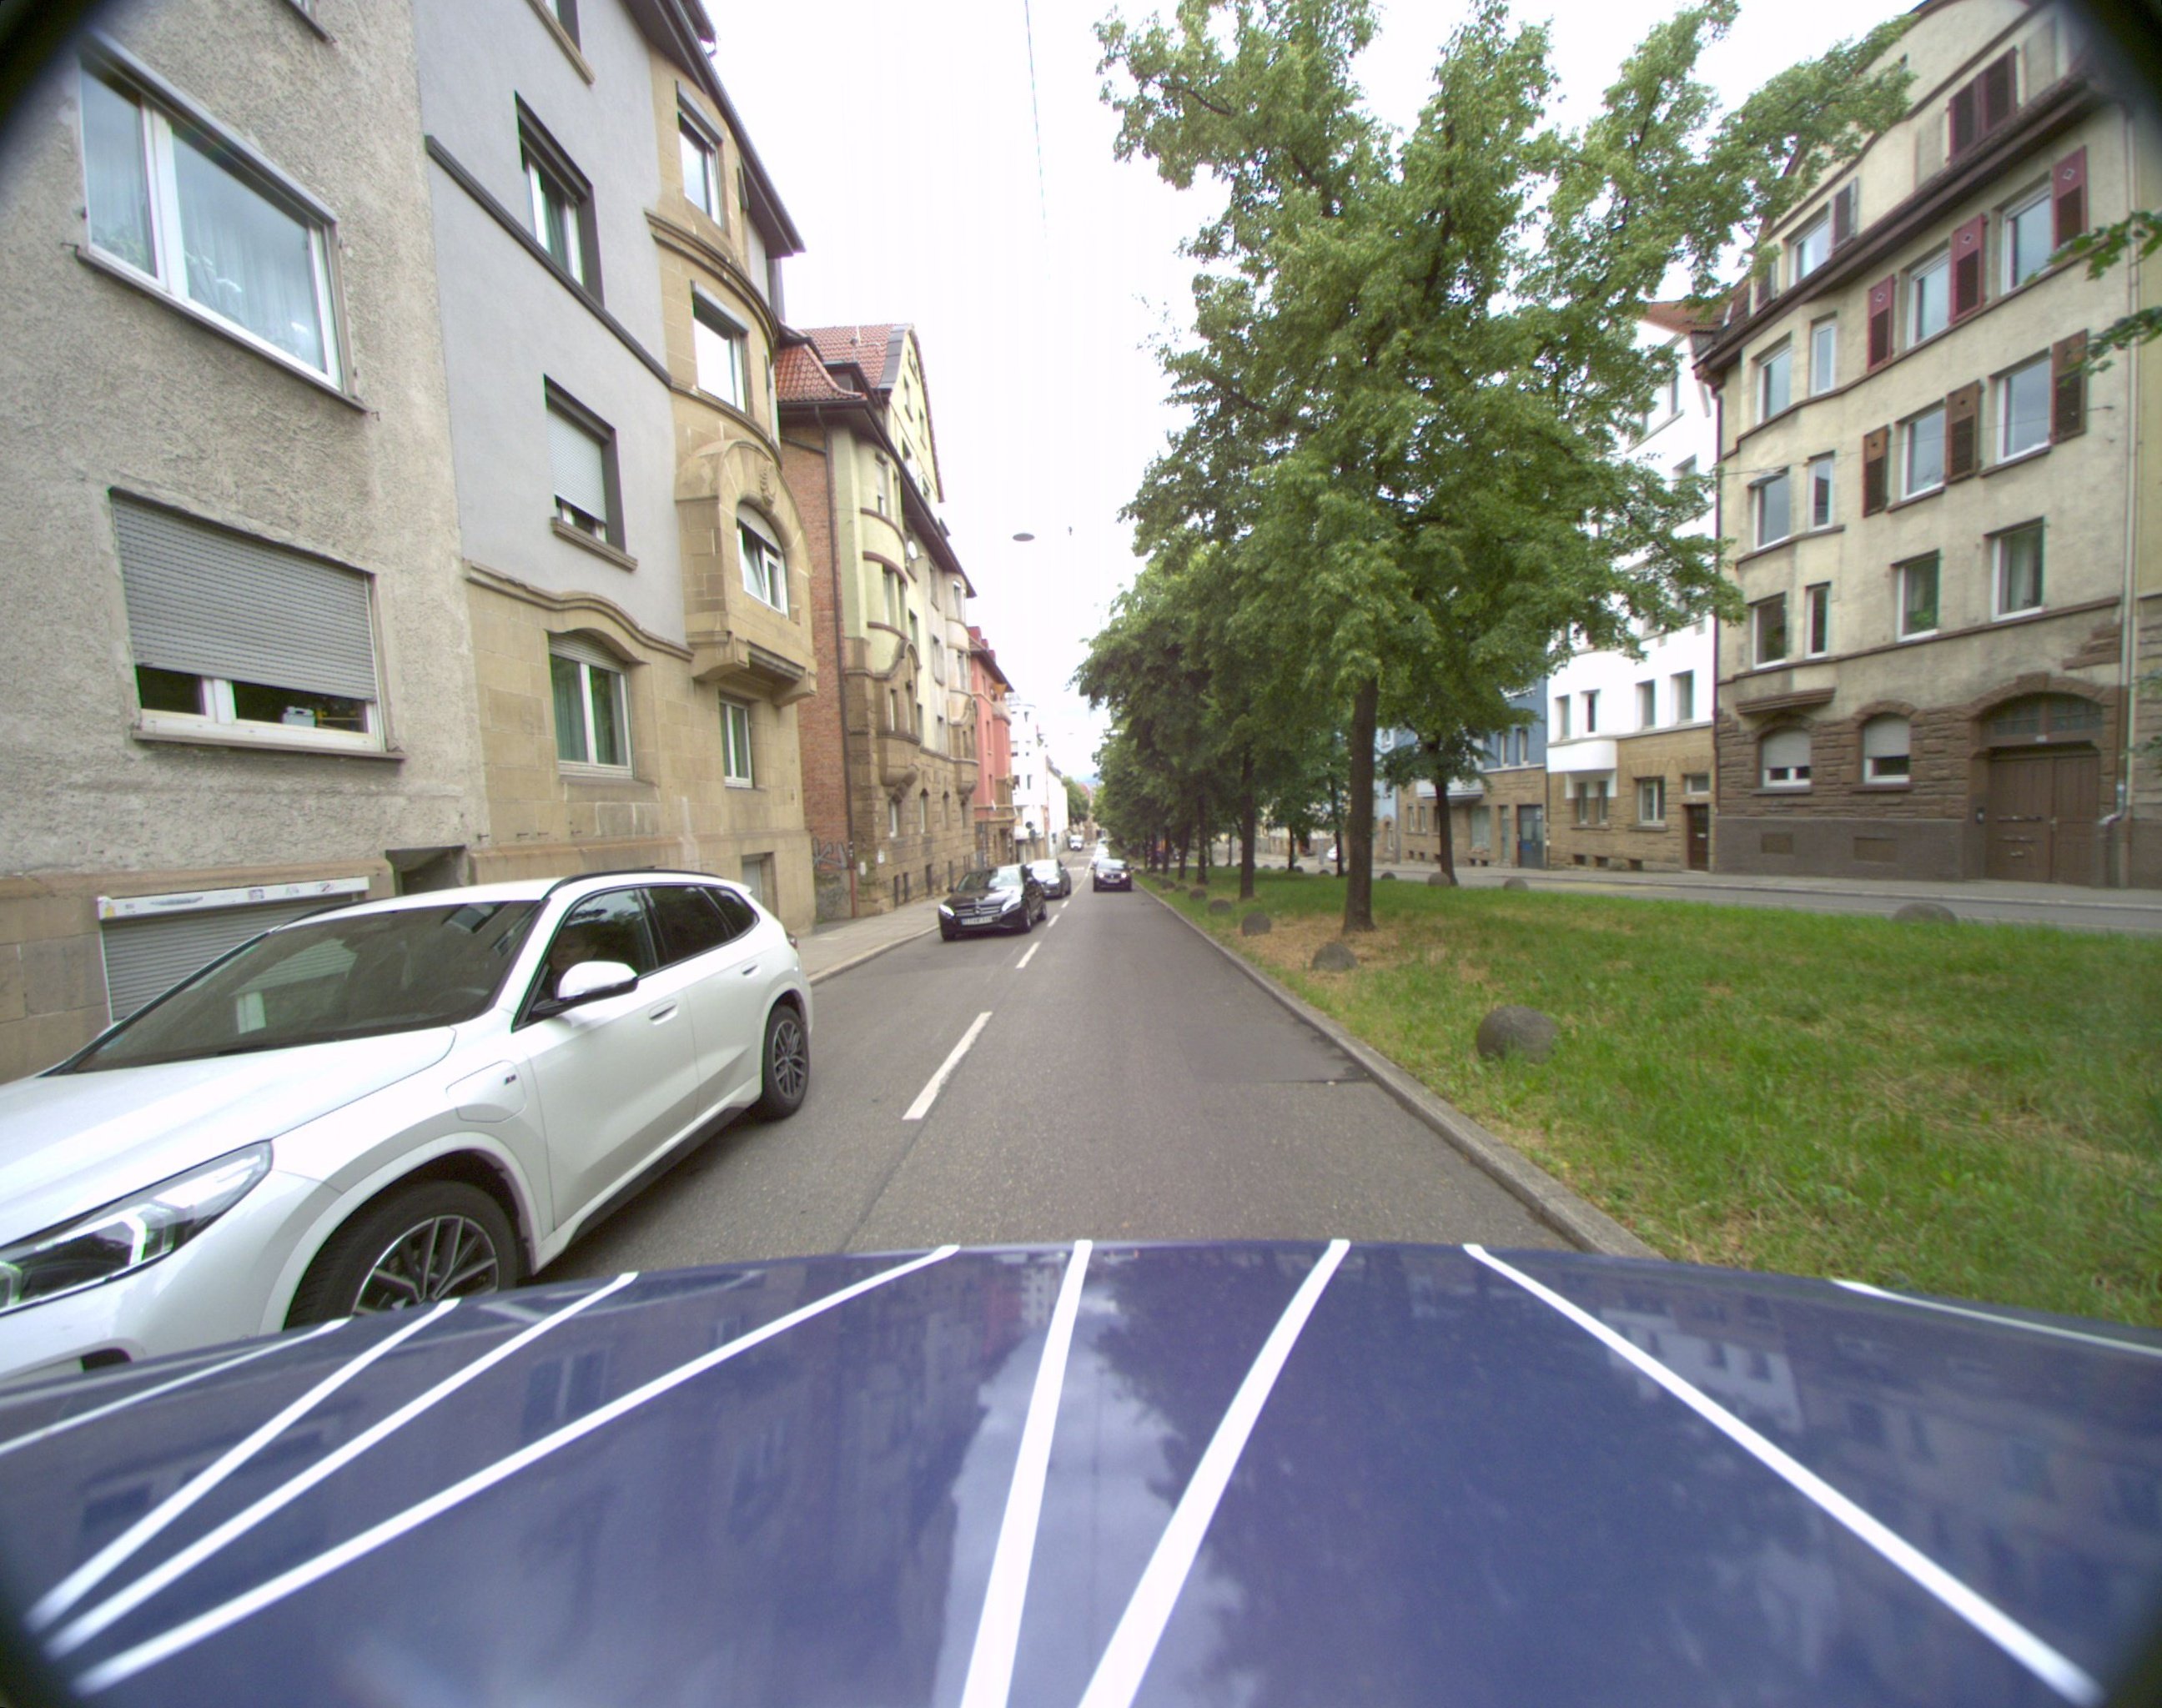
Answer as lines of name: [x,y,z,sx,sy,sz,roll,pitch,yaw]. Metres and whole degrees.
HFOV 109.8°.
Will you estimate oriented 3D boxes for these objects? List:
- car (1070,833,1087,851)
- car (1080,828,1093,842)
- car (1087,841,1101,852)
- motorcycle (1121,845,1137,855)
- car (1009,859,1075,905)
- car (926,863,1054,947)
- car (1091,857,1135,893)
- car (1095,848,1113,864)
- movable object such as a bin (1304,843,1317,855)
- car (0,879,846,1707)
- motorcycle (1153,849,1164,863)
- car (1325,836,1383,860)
car: [-0.399,-2.239,137.972,3.025,3.045,7.165,-2,3,1]
car: [1.279,-4.740,187.278,3.025,3.045,7.165,-2,3,1]
car: [1.836,-0.986,104.655,1.783,1.420,4.281,-1,0,2]
motorcycle: [6.179,-0.517,98.072,2.040,1.126,0.454,-3,4,2]
car: [-1.384,0.980,28.609,1.854,1.360,4.282,-6,0,4]
car: [-1.831,1.012,16.787,1.853,1.360,4.282,-6,0,5]
car: [1.377,0.860,33.257,1.783,1.420,4.281,-1,0,2]
car: [2.297,0.181,75.155,1.783,1.420,4.281,-1,0,2]
movable object such as a bin: [21.131,-0.462,69.899,0.887,0.988,0.668,-5,2,0]
car: [-2.783,1.079,3.385,1.854,1.595,4.563,-6,0,1]
motorcycle: [7.183,0.158,70.552,0.888,1.090,2.481,-3,4,9]
car: [22.528,-0.485,62.701,4.007,1.462,1.870,-7,4,-1]
